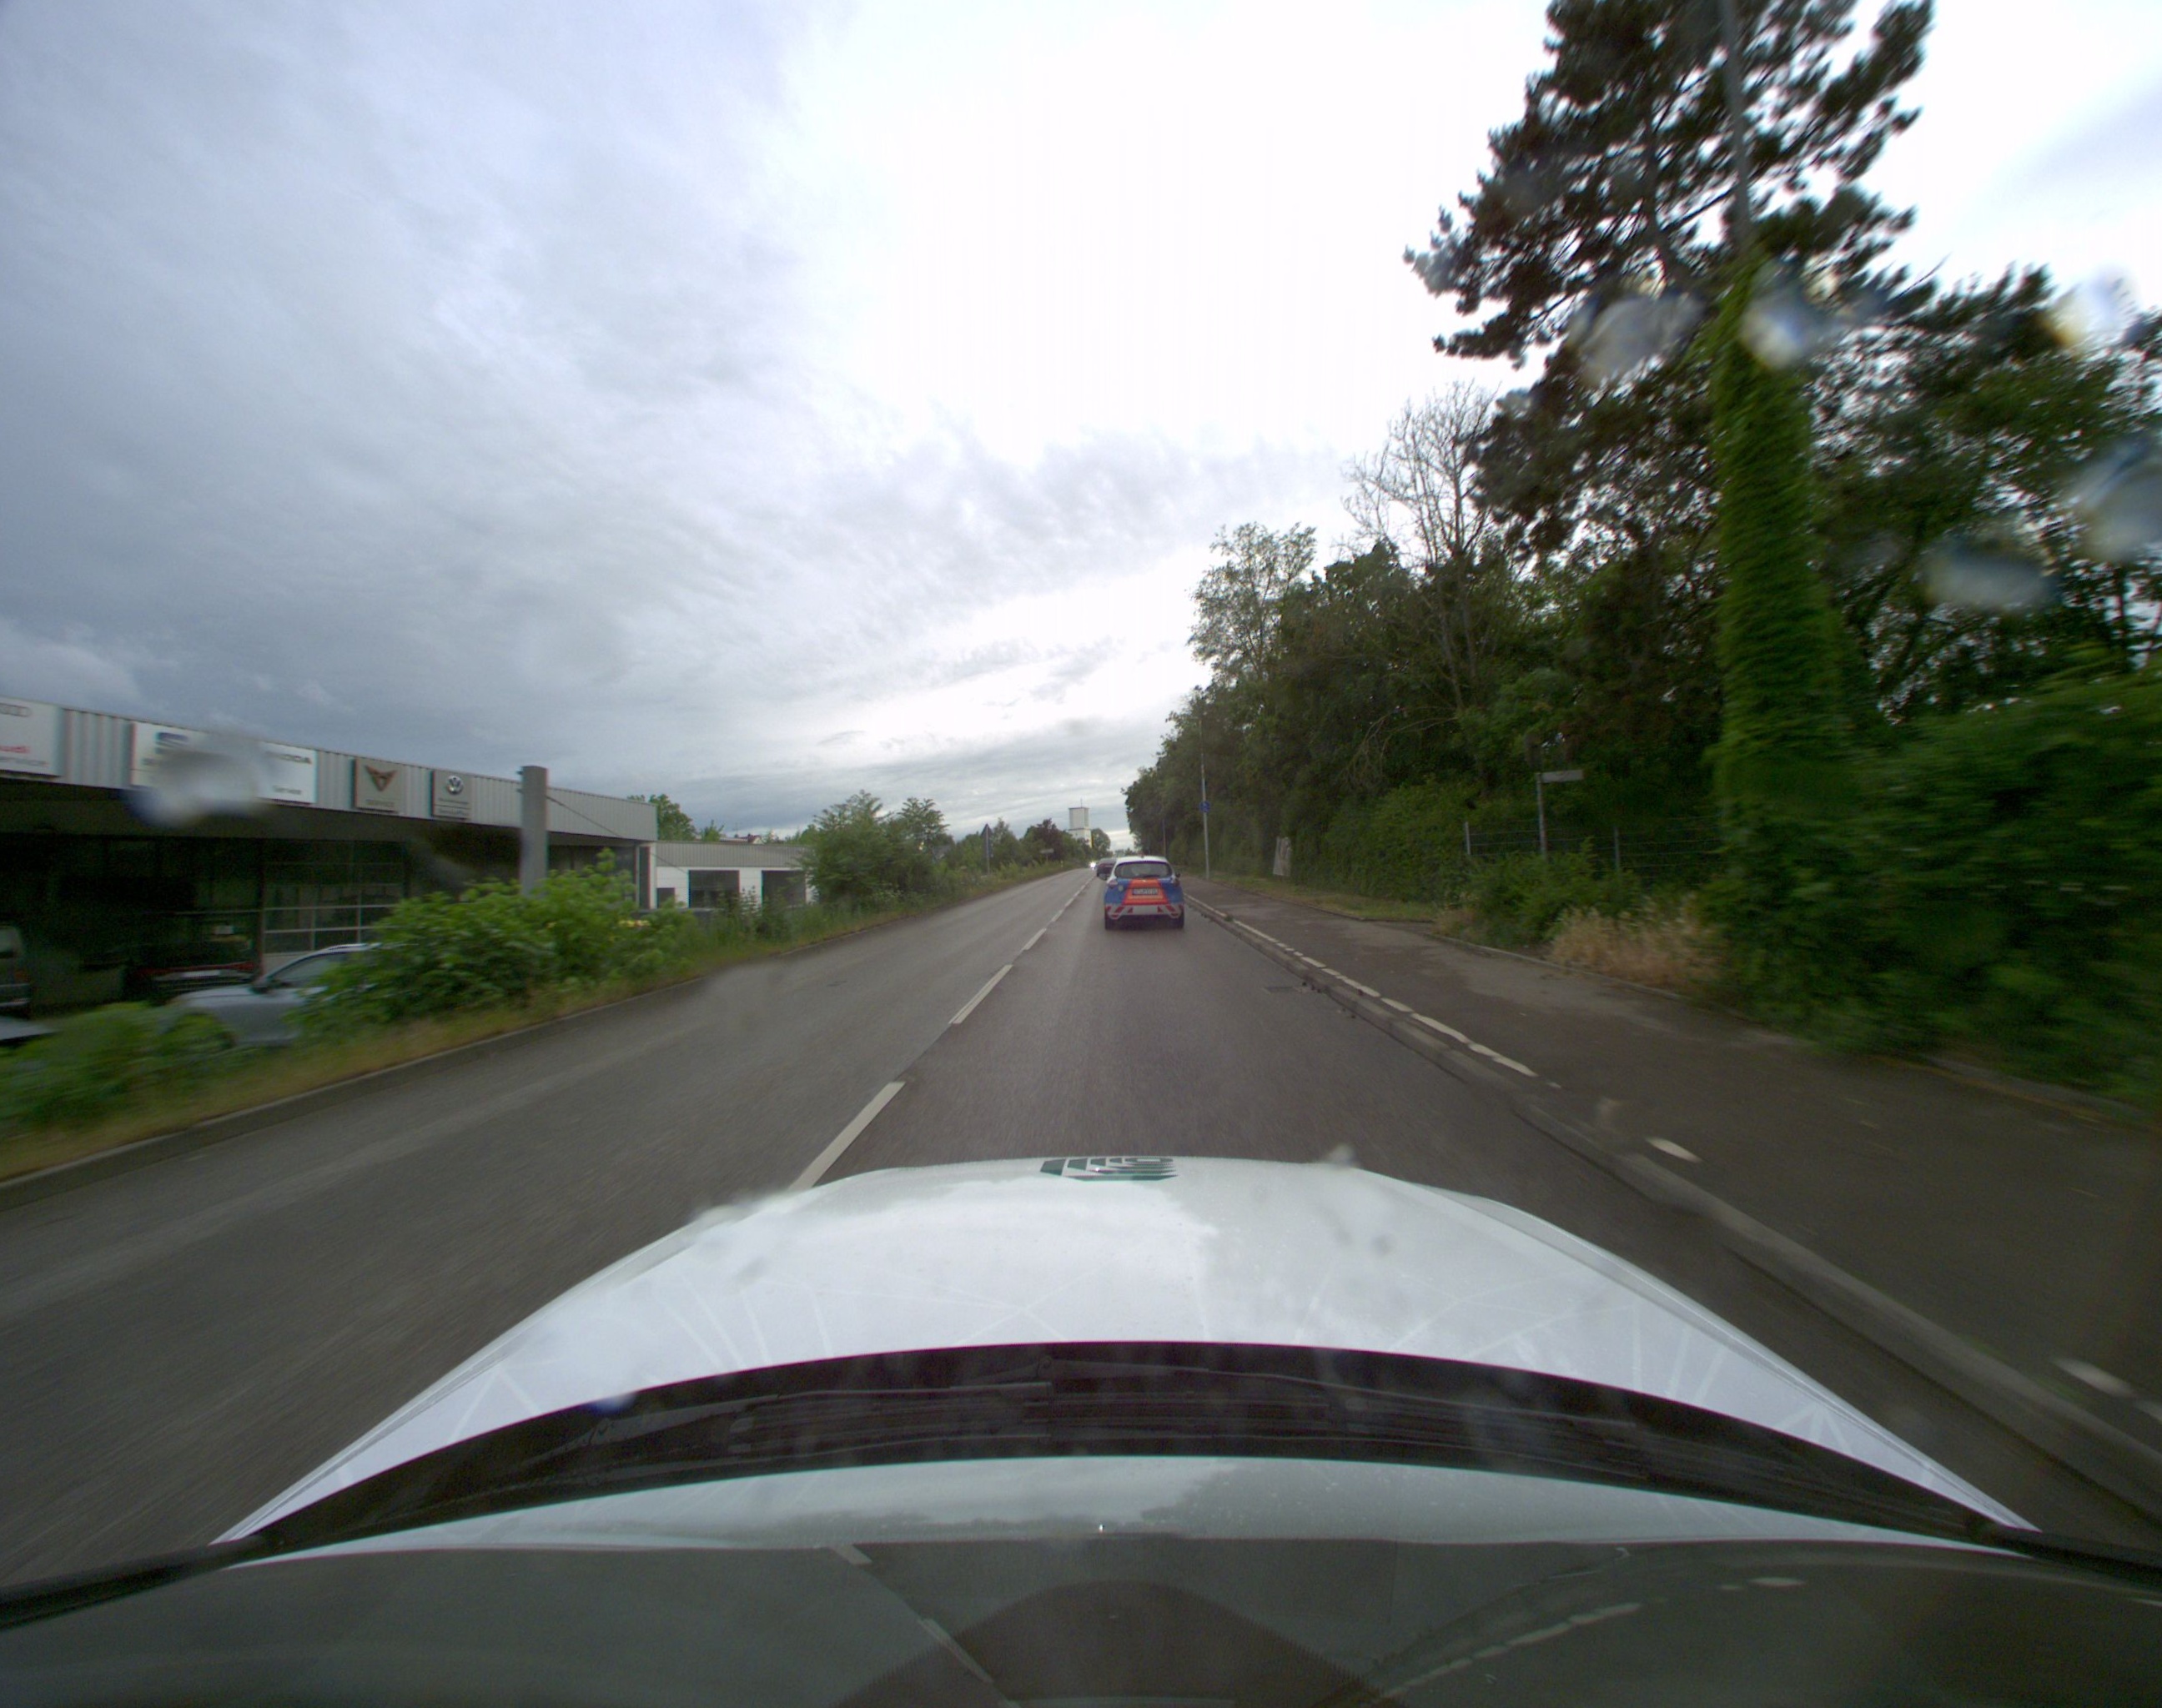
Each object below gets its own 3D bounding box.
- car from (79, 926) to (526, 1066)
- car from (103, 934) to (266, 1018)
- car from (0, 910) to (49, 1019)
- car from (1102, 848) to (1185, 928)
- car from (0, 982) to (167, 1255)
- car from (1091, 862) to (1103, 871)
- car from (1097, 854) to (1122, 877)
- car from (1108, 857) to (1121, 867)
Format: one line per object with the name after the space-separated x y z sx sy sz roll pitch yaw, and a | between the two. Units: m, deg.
-10.481 1.877 11.253 4.215 1.368 1.873 -3 0 -2 | car
-20.210 2.648 18.326 3.969 1.416 1.966 -3 0 35 | car
-22.047 2.258 16.031 4.426 1.960 2.001 -6 -3 37 | car
1.354 0.746 18.590 1.651 1.593 3.570 -2 -2 2 | car
-9.910 2.089 5.917 4.215 1.798 1.873 -3 0 -2 | car
3.191 2.416 160.382 1.860 1.585 4.421 0 0 6 | car
2.141 0.888 61.802 1.796 1.590 3.563 -3 -1 1 | car
4.944 1.198 119.921 1.609 1.407 3.496 -3 -1 -1 | car
